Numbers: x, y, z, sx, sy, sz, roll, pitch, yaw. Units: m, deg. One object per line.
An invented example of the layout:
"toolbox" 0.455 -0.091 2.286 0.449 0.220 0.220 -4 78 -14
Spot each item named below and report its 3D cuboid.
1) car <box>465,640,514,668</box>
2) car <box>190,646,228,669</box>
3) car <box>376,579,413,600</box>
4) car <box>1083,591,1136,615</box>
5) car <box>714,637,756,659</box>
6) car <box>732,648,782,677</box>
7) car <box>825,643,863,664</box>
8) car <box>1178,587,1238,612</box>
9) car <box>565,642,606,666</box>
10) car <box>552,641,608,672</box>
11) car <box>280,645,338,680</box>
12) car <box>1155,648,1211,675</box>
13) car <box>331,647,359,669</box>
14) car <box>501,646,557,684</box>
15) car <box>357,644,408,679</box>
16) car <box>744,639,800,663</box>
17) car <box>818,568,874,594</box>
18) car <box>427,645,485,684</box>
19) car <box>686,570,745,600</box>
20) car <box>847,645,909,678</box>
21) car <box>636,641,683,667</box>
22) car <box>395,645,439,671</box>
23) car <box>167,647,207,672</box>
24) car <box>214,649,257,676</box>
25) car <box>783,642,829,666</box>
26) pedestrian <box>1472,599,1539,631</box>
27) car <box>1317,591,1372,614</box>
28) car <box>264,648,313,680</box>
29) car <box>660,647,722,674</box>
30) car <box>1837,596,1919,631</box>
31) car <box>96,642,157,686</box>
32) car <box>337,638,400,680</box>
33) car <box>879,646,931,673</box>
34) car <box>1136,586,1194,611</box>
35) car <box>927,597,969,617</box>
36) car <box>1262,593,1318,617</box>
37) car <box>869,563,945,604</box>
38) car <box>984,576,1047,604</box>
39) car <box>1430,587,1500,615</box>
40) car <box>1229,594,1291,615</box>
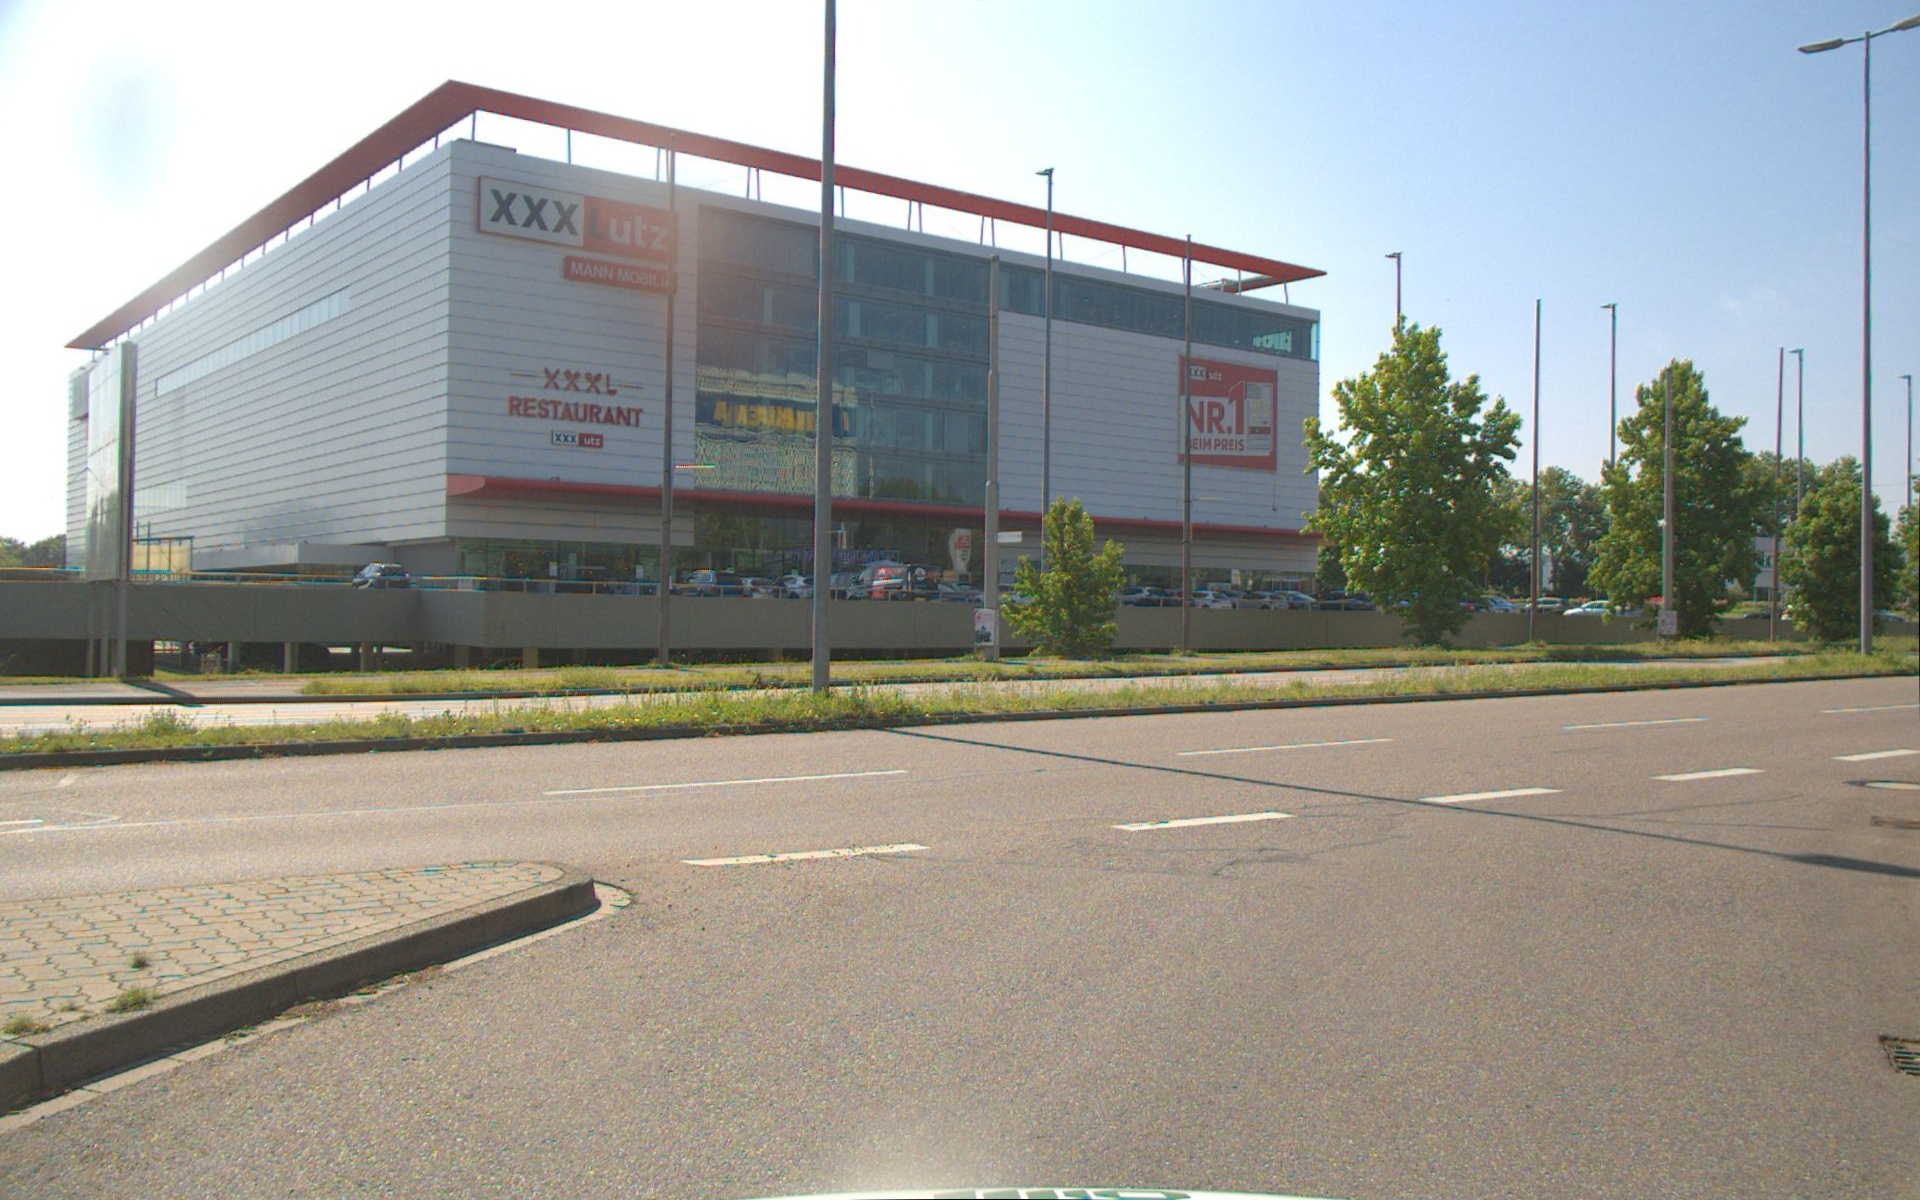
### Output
"car" -17.706 2.013 62.259 1.061 0.992 1.915 2 -1 -40
"car" -33.581 2.566 73.940 1.061 0.992 1.915 2 -1 -40
"car" -27.215 -0.497 79.616 1.061 0.992 1.915 2 -1 -40
"car" 8.675 0.198 96.221 1.288 1.353 3.101 2 -1 -39
"car" -10.402 2.209 76.295 1.061 0.992 1.915 2 -1 -40
"car" -7.419 2.288 60.441 0.902 0.992 1.915 2 -1 -40
"car" -5.753 2.635 81.752 0.913 0.992 1.915 2 -1 -40
"car" 14.033 -0.027 93.585 1.687 1.353 3.054 2 -1 -39
"car" -16.406 2.348 72.402 0.951 0.992 1.915 2 -1 -40
"car" -12.860 1.906 55.960 1.061 0.992 1.915 2 -1 -40
"car" -19.247 1.835 48.887 1.061 0.992 1.915 0 -1 -39
"car" 8.472 2.332 62.906 1.061 0.992 1.915 2 -1 -40
"car" -27.557 2.611 74.115 0.749 0.944 1.271 2 -1 -41
"car" -10.802 1.614 41.418 0.785 0.898 1.484 2 -1 -40
"car" -17.535 1.866 50.189 0.878 0.992 1.917 2 -1 -37
"car" -5.226 1.407 45.915 0.850 0.631 1.541 2 -1 -40
"car" -6.083 -1.004 88.137 1.501 1.353 3.054 2 -1 -39
"car" -13.777 1.754 45.214 0.858 0.992 1.821 2 -1 -40
"car" -11.743 -0.712 79.405 1.501 1.353 2.978 2 -1 -39
"car" -2.695 2.006 54.084 1.061 0.992 1.915 2 -1 -40
"car" -12.116 2.166 66.669 1.061 0.992 1.915 2 -1 -40
"car" -22.422 2.395 68.266 1.061 0.992 1.915 2 -1 -40
"car" -32.908 2.541 70.383 1.061 0.992 1.915 2 -1 -40
"car" -27.939 2.397 63.741 0.923 0.992 1.912 2 -1 -44
"car" -6.645 2.321 71.415 1.061 0.992 1.915 2 -1 -40
"pedestrian" 37.155 1.017 112.700 3.912 2.049 1.997 1 -1 -8
"car" 23.451 0.157 100.942 1.501 1.316 3.054 2 -1 -39
"car" -23.448 2.230 57.759 1.061 1.058 1.914 0 -1 -40
"car" -8.092 1.802 49.699 0.899 0.746 2.057 2 -1 -40
"car" 50.778 0.744 90.702 1.926 1.875 4.366 1 -1 -38
"car" -20.168 1.532 40.015 0.881 0.992 1.915 2 -1 -40
"car" -15.708 1.552 43.917 1.060 1.026 1.917 0 -1 -37
"car" -2.158 2.339 64.723 1.061 0.992 1.915 2 -1 -40
"car" 11.409 -0.087 92.120 1.501 1.353 3.054 2 -1 -39
"car" -0.595 0.344 80.904 1.061 0.992 1.914 0 0 -40
"car" 19.620 0.301 98.474 1.501 1.353 3.054 2 -1 -39
"car" -2.148 -0.653 66.657 1.757 1.584 2.737 0 0 -39
"car" 2.821 -0.500 84.371 1.501 1.353 3.179 2 -1 -39
"car" 19.937 0.040 65.328 1.061 1.078 2.484 2 -1 -40
"car" 17.479 0.258 96.503 1.466 1.220 3.461 2 -1 -39
